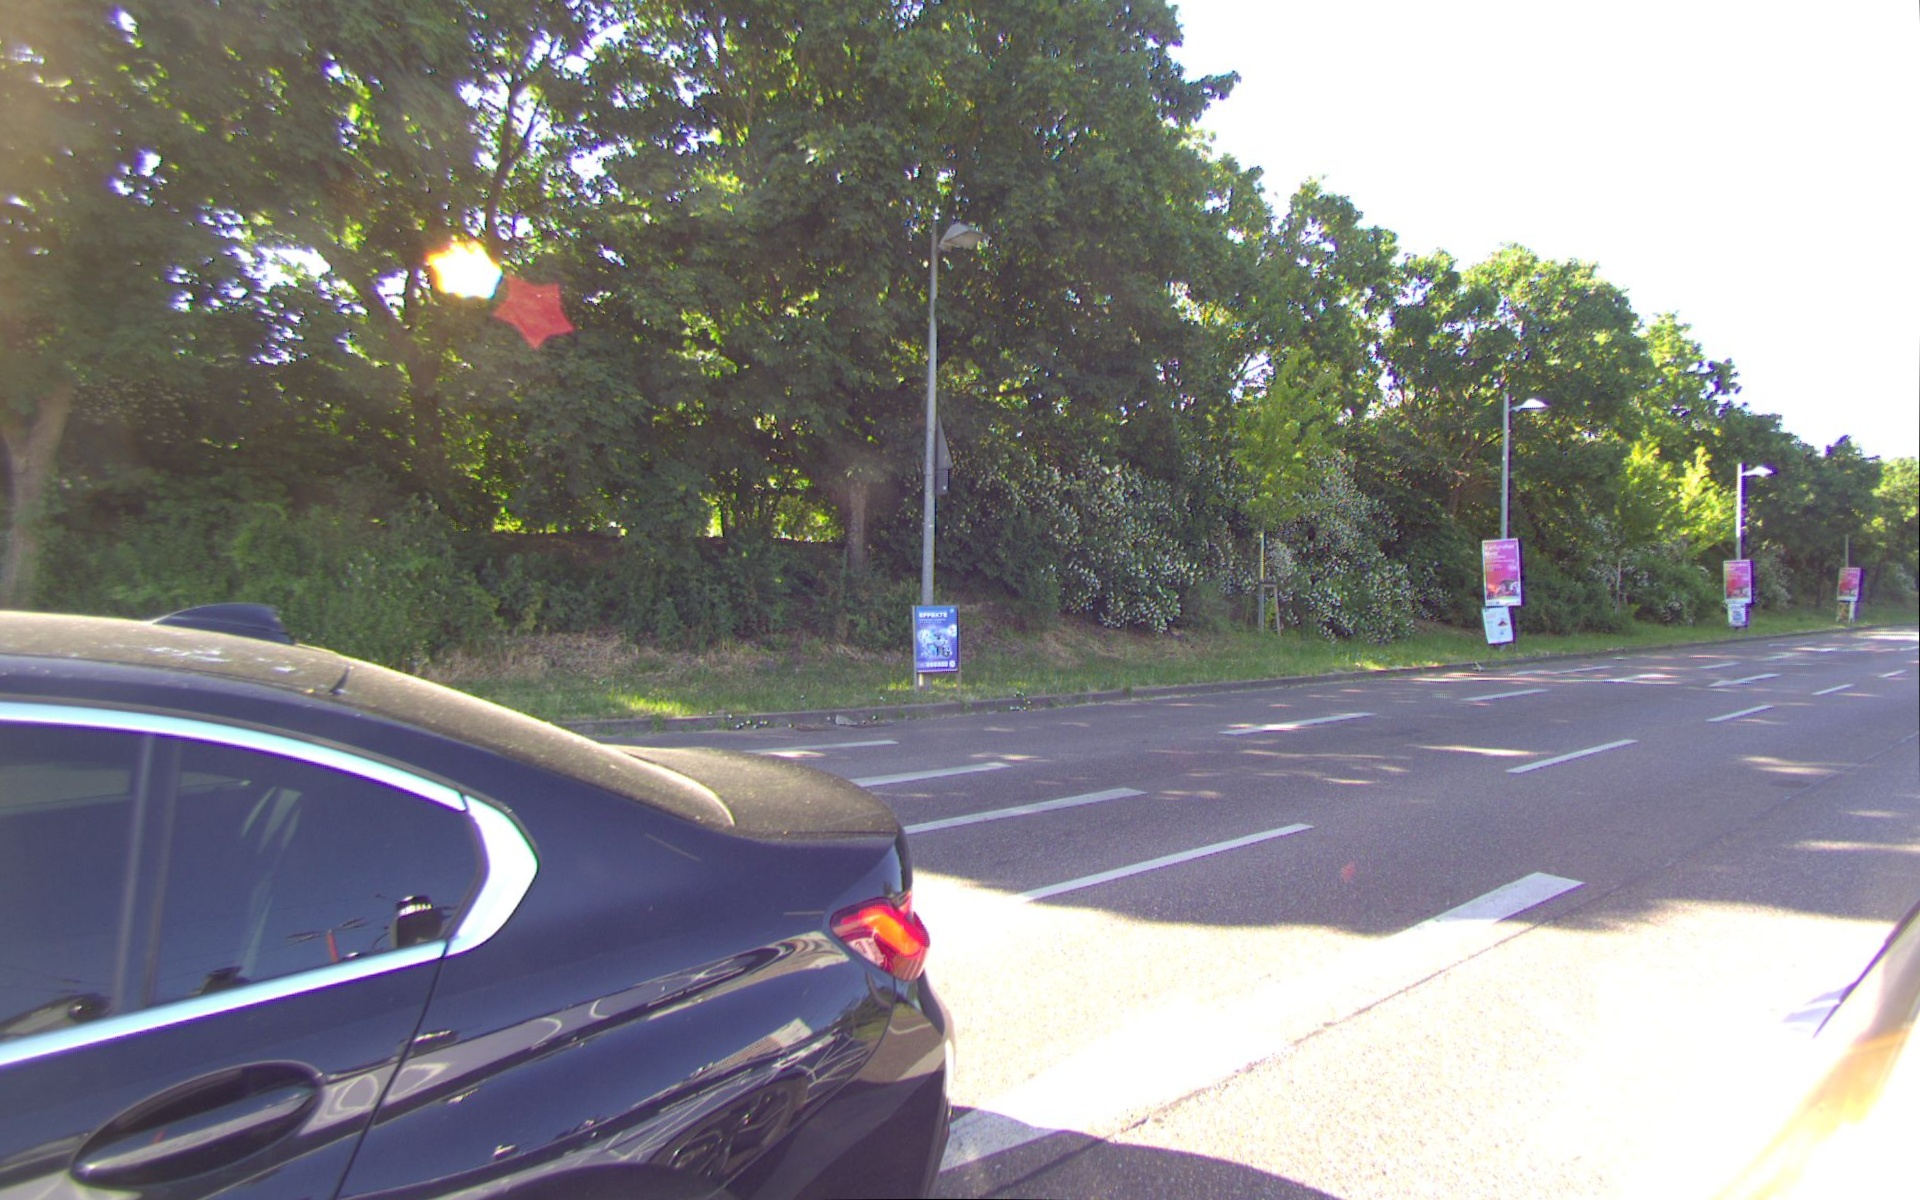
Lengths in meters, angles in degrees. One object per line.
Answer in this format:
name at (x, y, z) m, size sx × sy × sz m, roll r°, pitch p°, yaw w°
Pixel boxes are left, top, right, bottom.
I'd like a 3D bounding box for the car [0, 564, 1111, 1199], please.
car at (-1.998, 0.654, 1.180) m, size 4.364 × 1.415 × 1.874 m, roll 0°, pitch 1°, yaw -40°
